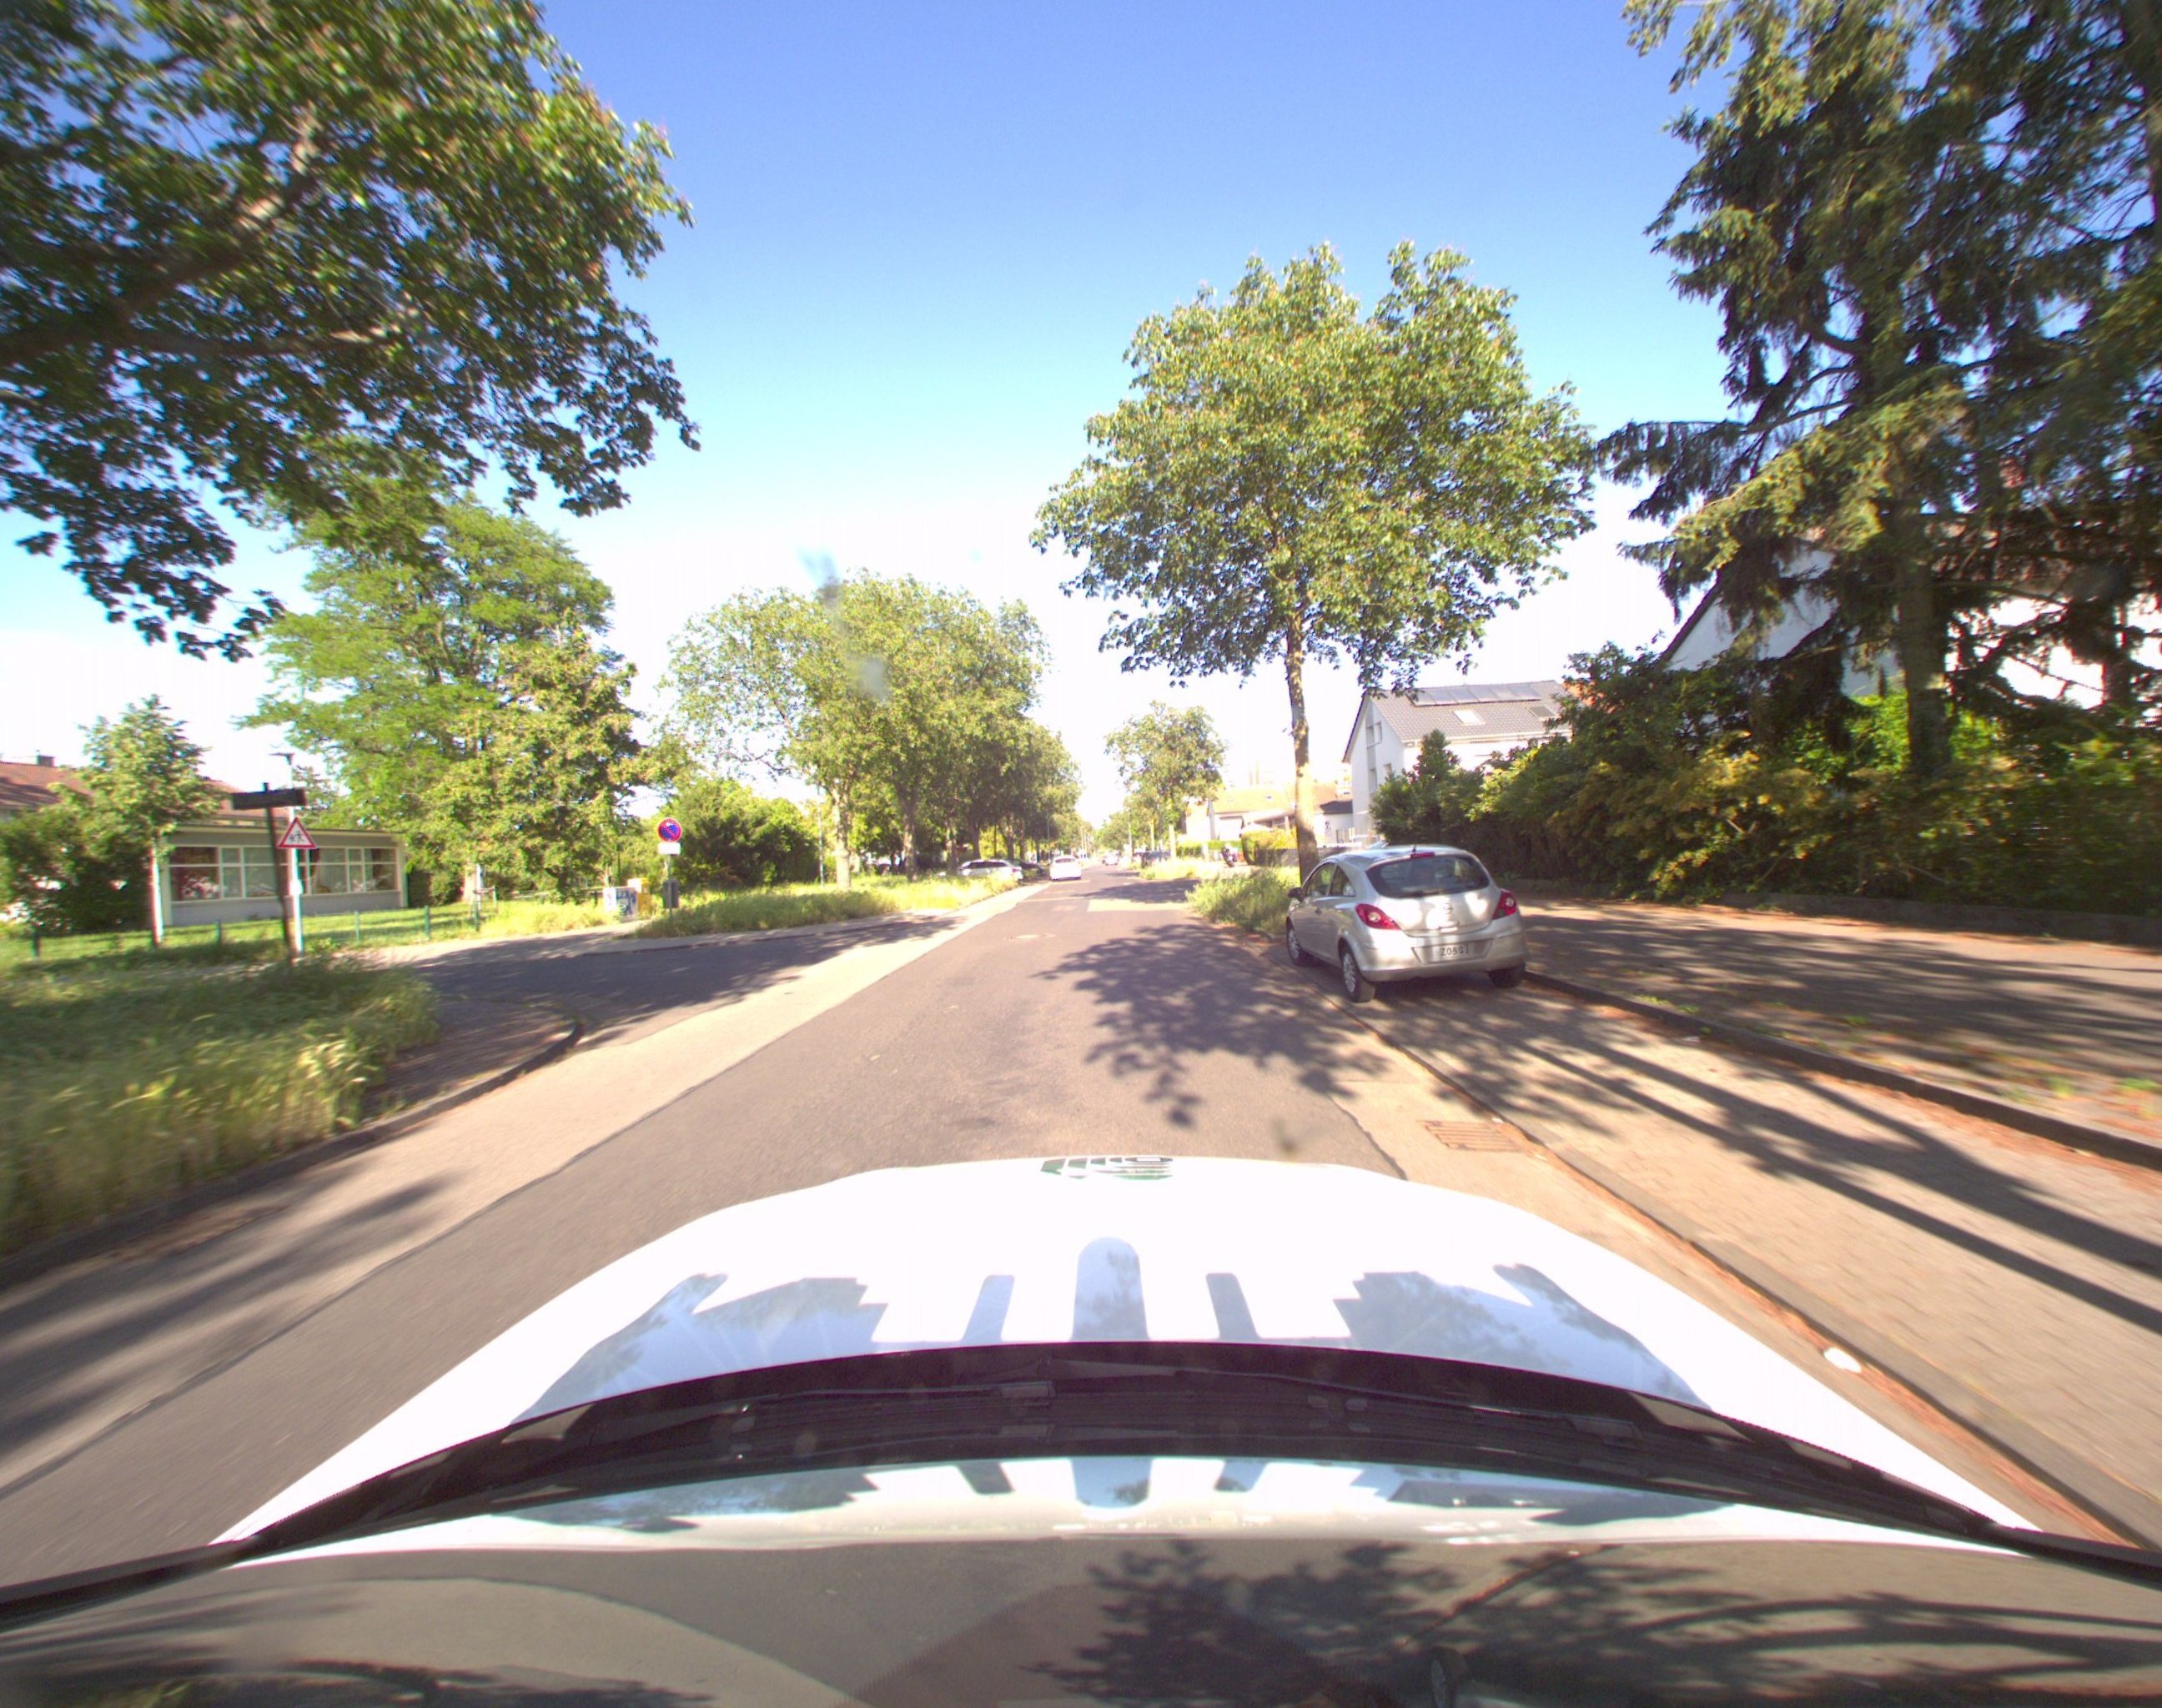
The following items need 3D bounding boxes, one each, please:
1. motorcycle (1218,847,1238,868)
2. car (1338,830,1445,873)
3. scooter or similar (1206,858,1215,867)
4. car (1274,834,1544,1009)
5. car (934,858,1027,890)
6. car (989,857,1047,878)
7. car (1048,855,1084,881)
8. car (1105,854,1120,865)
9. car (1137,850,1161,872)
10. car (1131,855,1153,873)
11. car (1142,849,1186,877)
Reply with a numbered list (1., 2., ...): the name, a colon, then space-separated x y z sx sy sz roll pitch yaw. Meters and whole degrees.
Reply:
1. motorcycle: 9.310 0.221 51.793 0.815 1.227 2.352 -4 0 1
2. car: 13.532 -0.101 35.631 3.980 1.640 1.773 -3 0 -5
3. scooter or similar: 12.174 0.777 76.542 0.368 0.858 1.406 -2 0 -11
4. car: 3.492 0.656 9.549 1.982 1.510 4.010 -4 -1 9
5. car: -5.362 1.068 43.832 4.652 1.503 2.002 -2 0 3
6. car: -4.872 1.077 63.605 4.352 1.531 1.807 -1 -1 0
7. car: -0.961 0.816 49.356 1.989 1.455 4.220 -3 0 -3
8. car: 4.339 0.812 113.304 1.986 1.508 3.659 0 -1 2
9. car: 5.123 0.542 61.343 1.604 1.622 4.384 0 -1 2
10. car: 6.583 1.124 88.461 1.988 1.728 3.998 -5 -1 -1
11. car: 5.034 0.571 49.798 1.990 1.622 4.375 0 -1 -4
